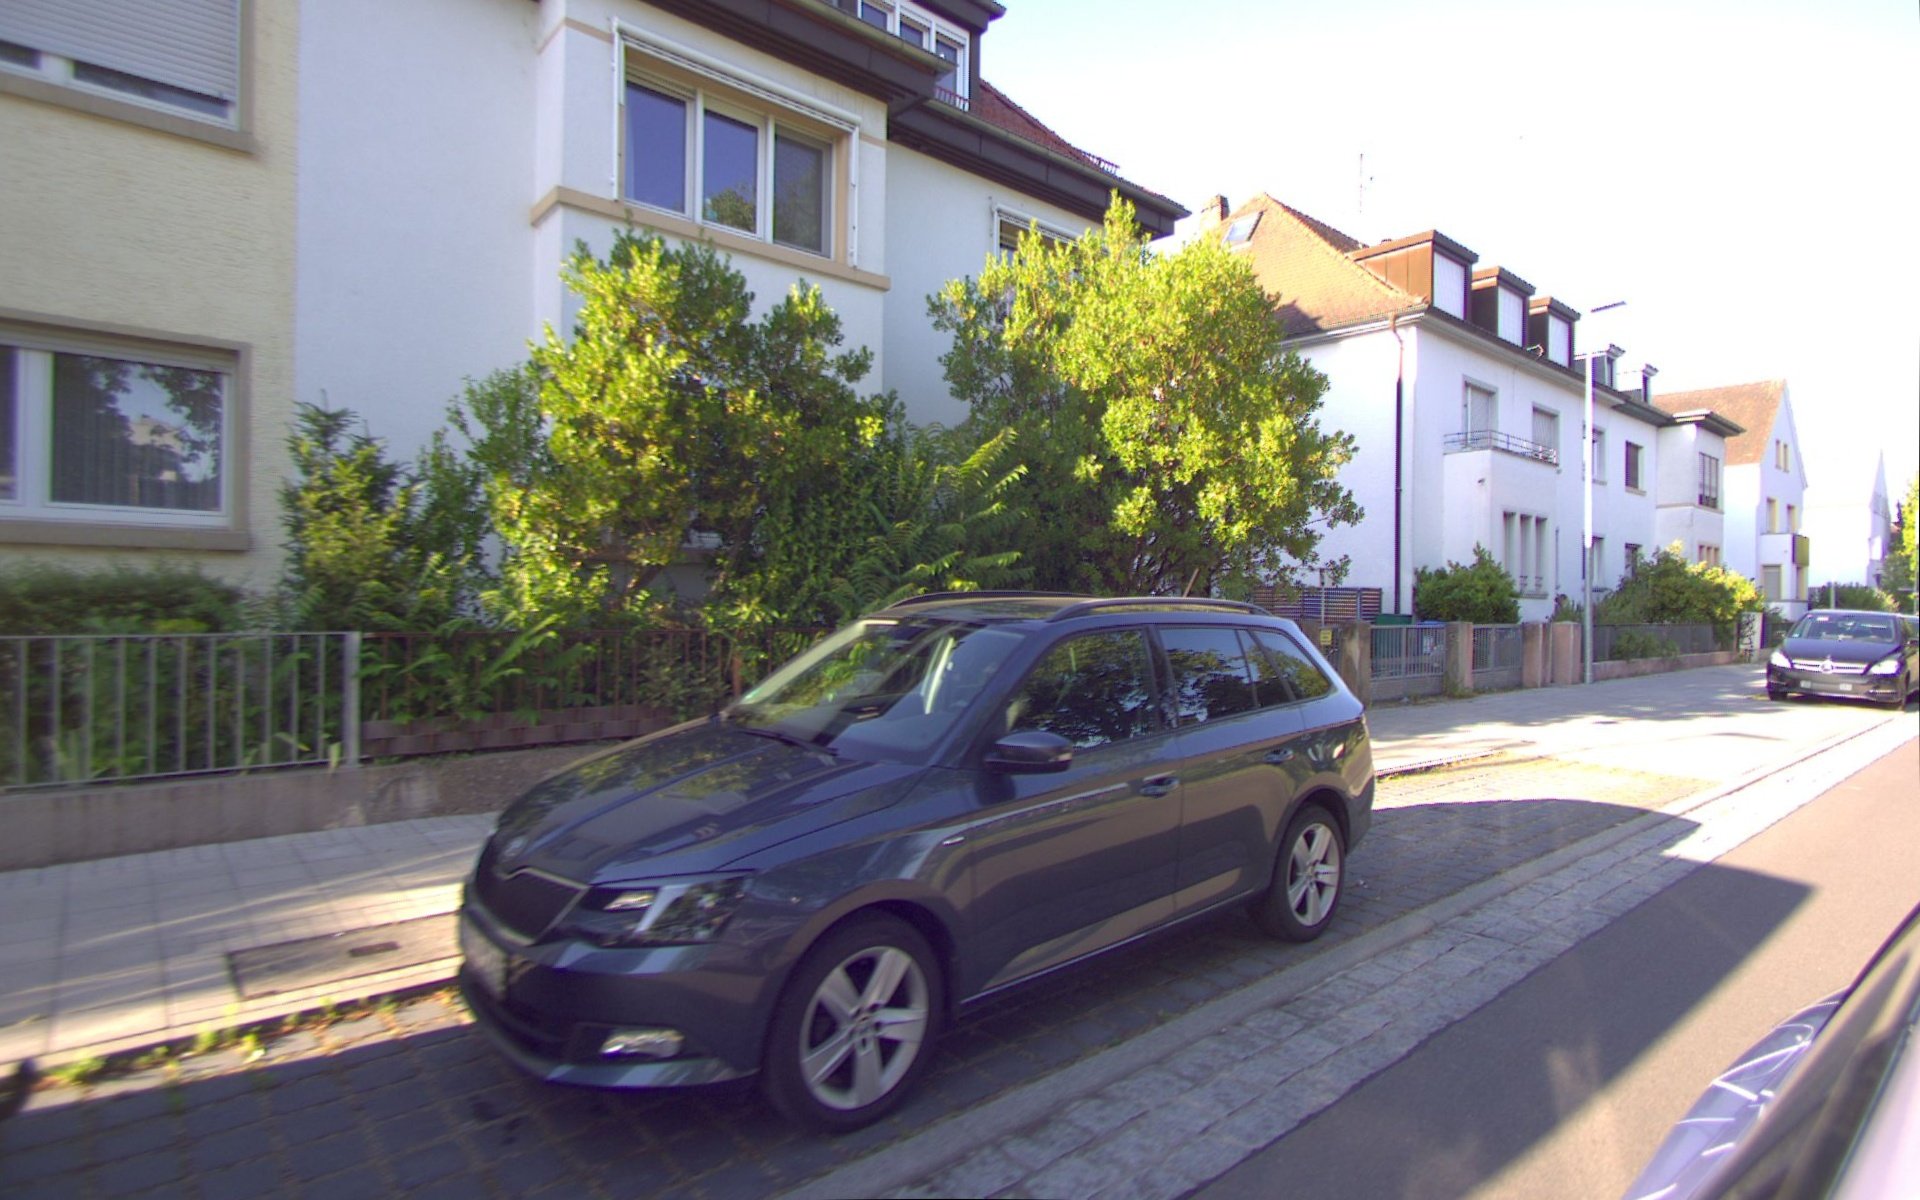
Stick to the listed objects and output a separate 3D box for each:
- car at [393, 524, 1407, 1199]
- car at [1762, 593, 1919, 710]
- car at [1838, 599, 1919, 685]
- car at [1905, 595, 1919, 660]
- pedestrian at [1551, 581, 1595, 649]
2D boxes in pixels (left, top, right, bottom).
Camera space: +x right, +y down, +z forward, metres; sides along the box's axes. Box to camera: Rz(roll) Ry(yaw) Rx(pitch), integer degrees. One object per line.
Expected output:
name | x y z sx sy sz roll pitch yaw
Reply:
car | 0.082 0.654 4.195 4.014 1.613 1.666 0 -1 -41
car | 15.745 0.778 17.731 4.338 1.705 1.836 0 3 -41
car | 19.805 0.818 21.223 4.141 1.593 1.719 0 2 -44
car | 28.663 0.803 29.038 4.394 1.793 1.797 1 2 -41
pedestrian | 14.582 0.359 24.080 0.617 1.598 0.598 -1 -1 -14
